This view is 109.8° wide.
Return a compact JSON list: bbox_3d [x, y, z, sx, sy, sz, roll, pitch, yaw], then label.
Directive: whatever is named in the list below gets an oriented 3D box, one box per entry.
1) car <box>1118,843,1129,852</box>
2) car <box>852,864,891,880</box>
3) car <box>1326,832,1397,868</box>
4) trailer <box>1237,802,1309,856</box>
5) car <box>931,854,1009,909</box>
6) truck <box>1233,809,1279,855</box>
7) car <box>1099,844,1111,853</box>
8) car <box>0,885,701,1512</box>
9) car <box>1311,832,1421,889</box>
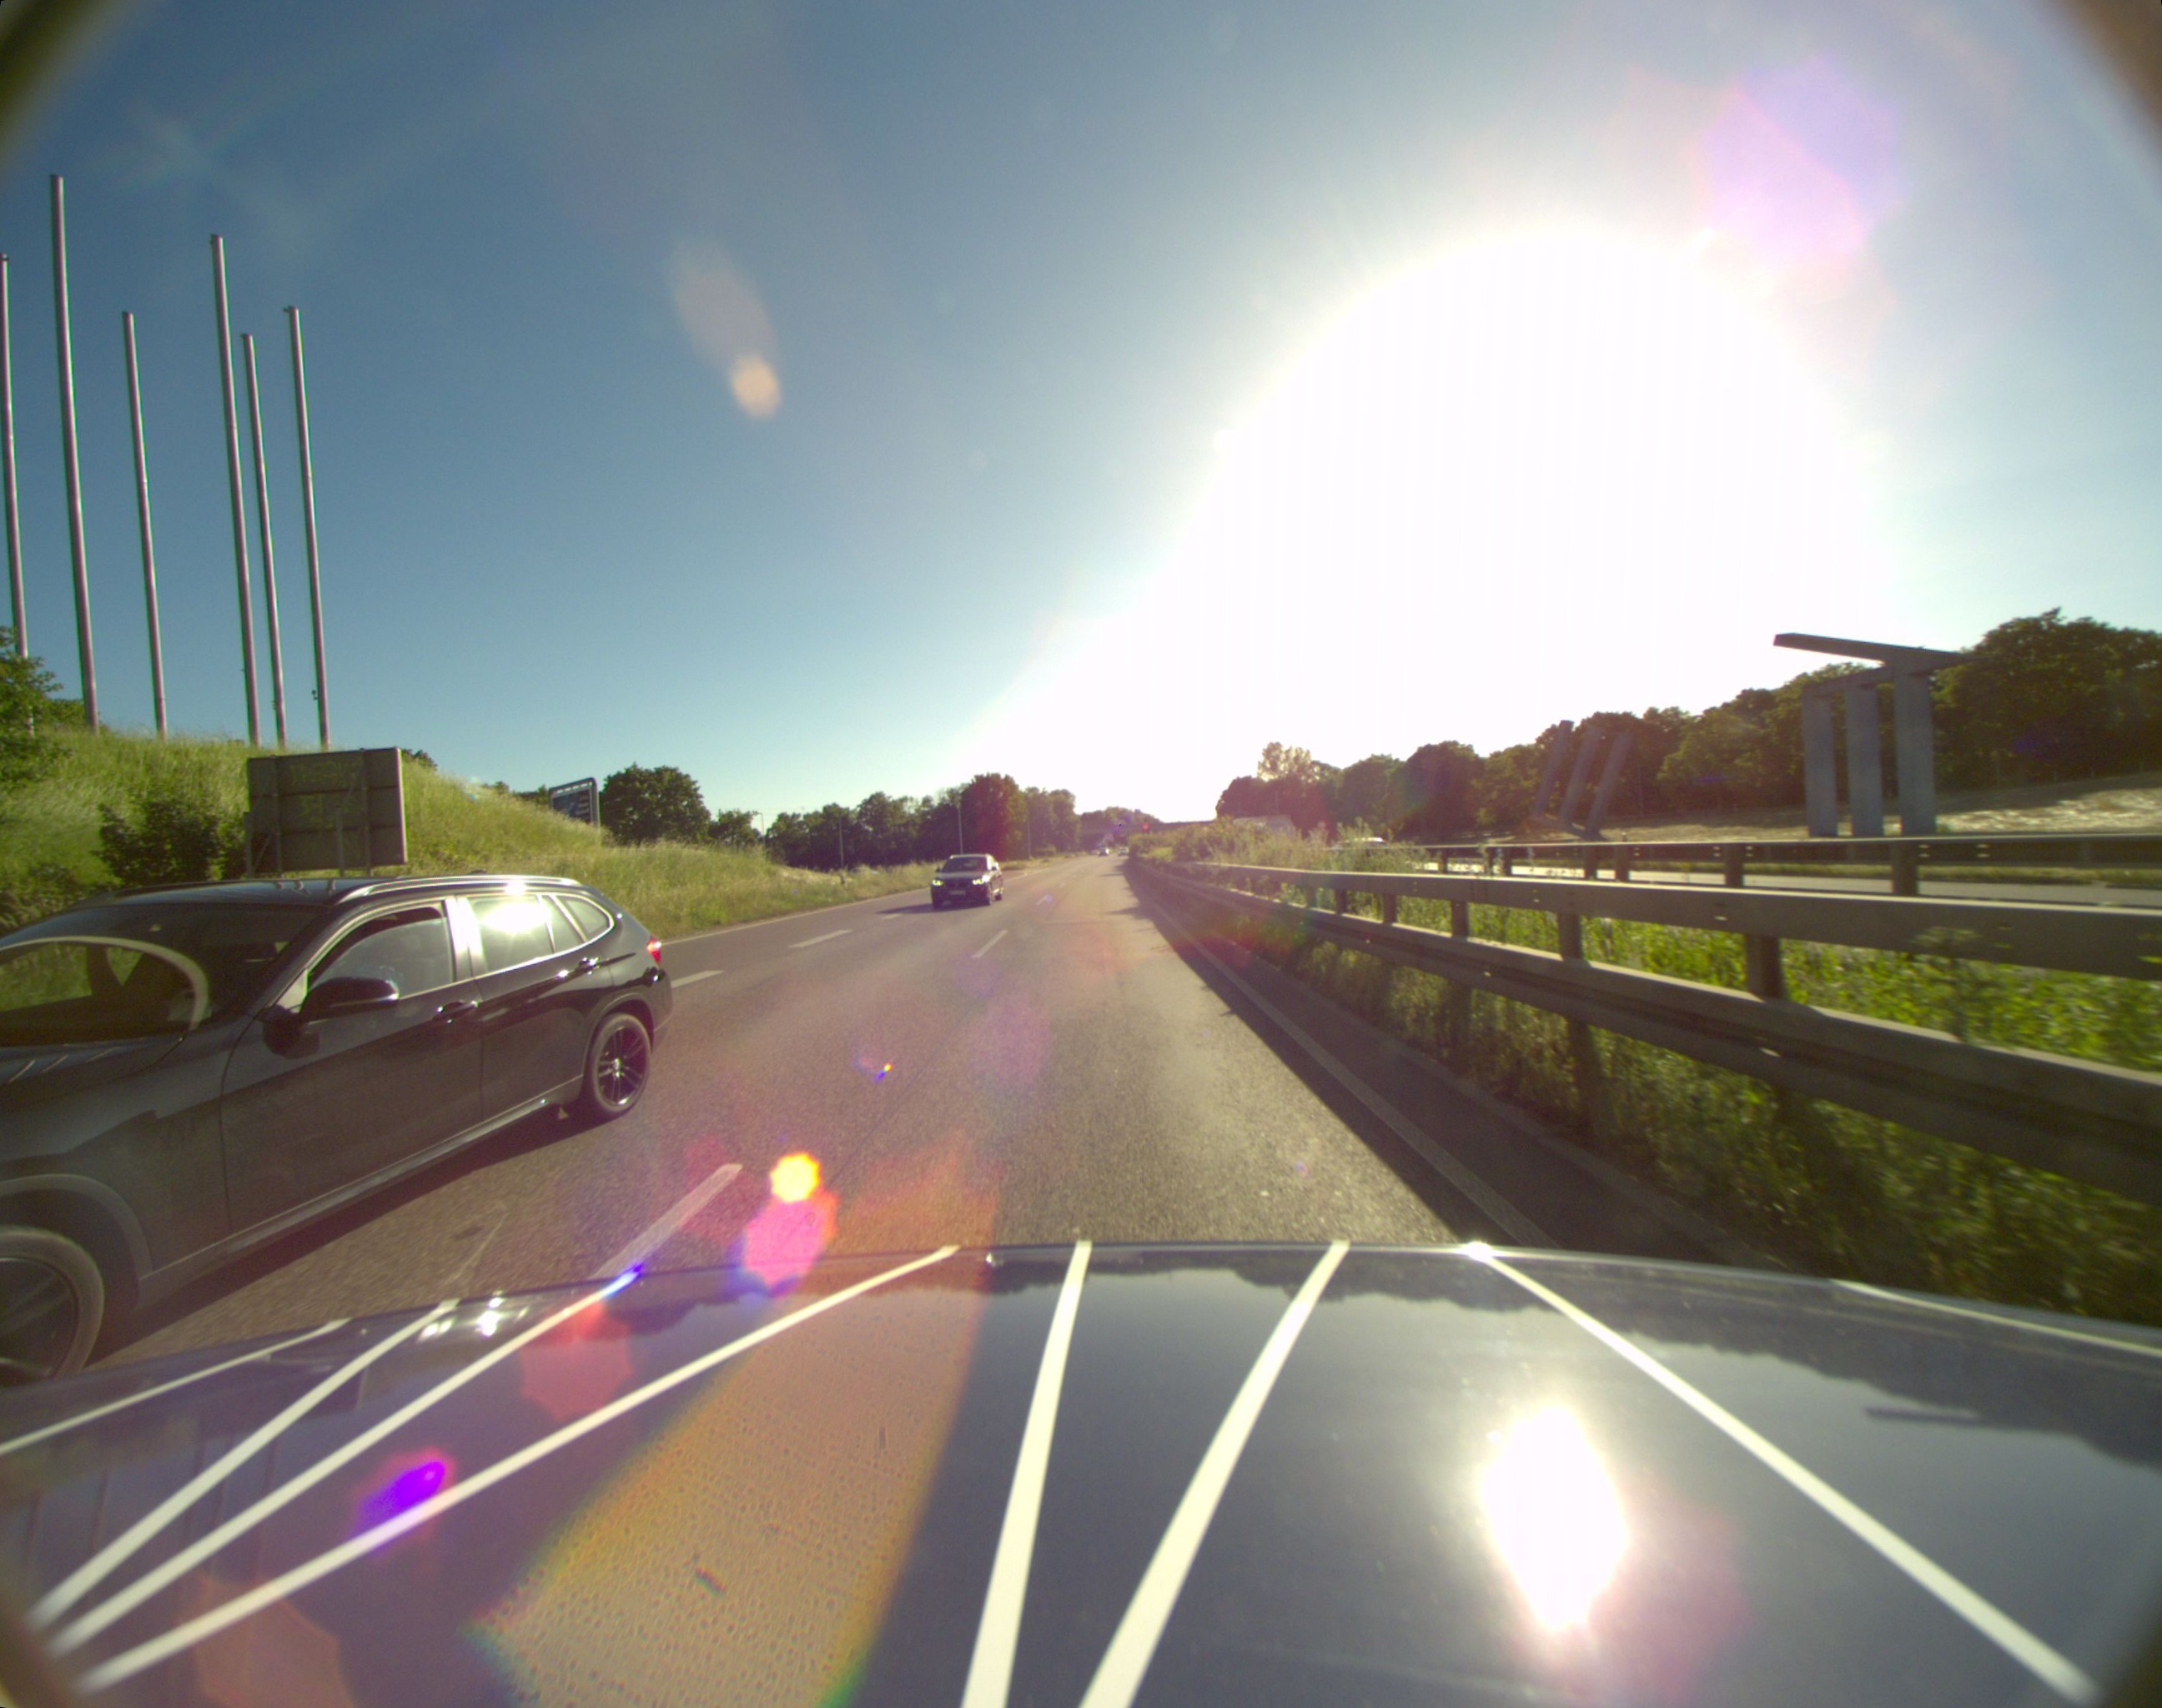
[{"bbox_3d":[7.308,-1.079,131.114,1.725,1.412,3.670,-3,1,5],"label":"car"},{"bbox_3d":[-24.068,2.068,87.294,3.990,1.681,1.872,-2,1,26],"label":"car"},{"bbox_3d":[12.748,-0.207,34.814,1.765,1.435,4.110,-3,1,2],"label":"car"},{"bbox_3d":[14.639,-1.798,59.077,2.783,3.636,12.205,-3,0,2],"label":"trailer"},{"bbox_3d":[-3.581,0.840,25.346,1.759,1.564,4.520,-2,1,1],"label":"car"},{"bbox_3d":[14.887,-1.861,65.044,2.783,3.636,5.324,-3,1,2],"label":"truck"},{"bbox_3d":[4.281,-1.022,135.794,1.682,1.412,3.671,-3,1,7],"label":"car"},{"bbox_3d":[-3.714,1.006,3.299,1.703,1.497,4.579,-1,1,2],"label":"car"},{"bbox_3d":[8.414,0.160,22.845,1.765,1.435,4.110,-3,1,1],"label":"car"}]
